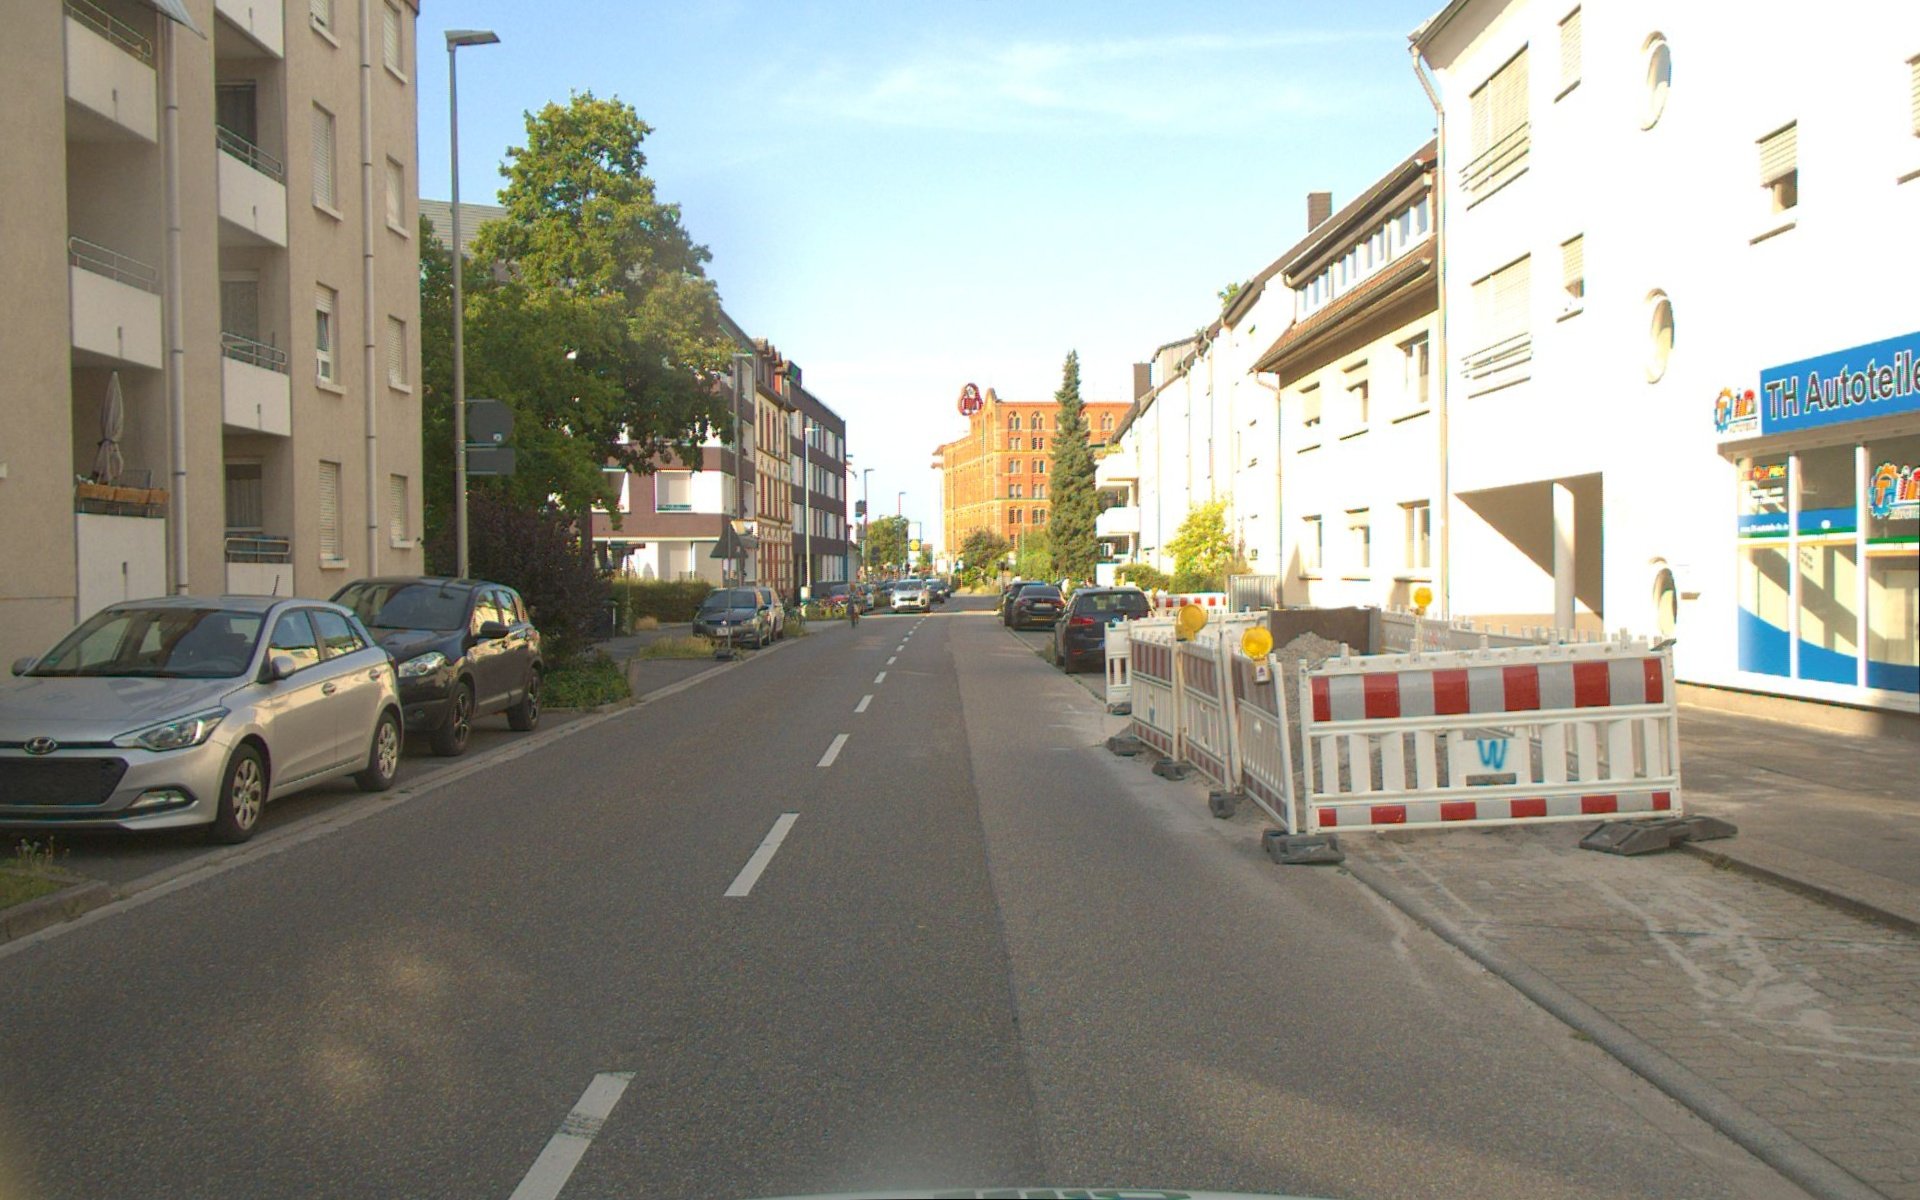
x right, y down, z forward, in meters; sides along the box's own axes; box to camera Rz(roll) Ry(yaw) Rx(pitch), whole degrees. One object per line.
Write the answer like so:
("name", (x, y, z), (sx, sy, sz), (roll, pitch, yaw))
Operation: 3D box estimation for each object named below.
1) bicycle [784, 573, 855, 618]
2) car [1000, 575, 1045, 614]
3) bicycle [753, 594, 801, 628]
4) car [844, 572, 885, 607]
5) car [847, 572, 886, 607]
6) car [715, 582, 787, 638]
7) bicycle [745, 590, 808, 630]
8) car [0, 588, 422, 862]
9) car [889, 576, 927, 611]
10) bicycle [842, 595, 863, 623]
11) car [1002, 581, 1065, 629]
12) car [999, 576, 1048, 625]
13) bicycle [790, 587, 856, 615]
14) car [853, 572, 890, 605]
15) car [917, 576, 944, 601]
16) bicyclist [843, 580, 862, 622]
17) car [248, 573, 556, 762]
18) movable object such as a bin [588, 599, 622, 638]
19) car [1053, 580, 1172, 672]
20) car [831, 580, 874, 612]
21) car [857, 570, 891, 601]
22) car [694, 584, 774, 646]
("bicycle", (-5.899, -0.190, 69.710), (2.858, 1.808, 1.202), (-1, 0, 0))
("car", (2.674, -0.261, 71.691), (1.728, 1.552, 4.000), (-2, 1, -1))
("bicycle", (-6.011, 0.358, 54.467), (1.554, 1.059, 0.707), (-1, 1, -6))
("car", (-5.192, -0.583, 90.206), (1.952, 1.867, 3.689), (-1, 1, 0))
("car", (-5.373, -0.630, 95.321), (1.952, 1.945, 3.689), (-1, 1, 0))
("car", (-5.901, 0.251, 47.048), (1.642, 1.528, 3.999), (0, 1, -2))
("bicycle", (-5.850, 0.320, 52.747), (1.962, 1.238, 0.707), (-1, 0, -6))
("car", (-5.097, 0.678, 11.201), (1.652, 1.480, 4.140), (0, 1, -2))
("car", (-2.543, -0.339, 81.720), (1.728, 1.644, 4.000), (-1, 1, -1))
("bicycle", (-3.825, 0.327, 58.980), (0.596, 0.959, 1.811), (0, 1, 1))
("car", (2.372, 0.130, 54.337), (1.821, 1.497, 3.999), (-1, 1, -1))
("car", (2.264, -0.009, 59.588), (1.569, 1.674, 3.684), (0, 1, -1))
("bicycle", (-5.905, 0.044, 71.484), (2.716, 1.164, 1.143), (-1, 0, 0))
("car", (-5.319, -0.702, 99.399), (1.952, 1.940, 4.000), (-1, 1, 0))
("car", (-1.935, -0.784, 110.155), (1.728, 1.644, 4.000), (-1, 1, -1))
("bicyclist", (-3.829, 0.037, 59.058), (0.578, 1.467, 0.751), (-1, 0, 0))
("car", (-5.339, 0.555, 16.432), (1.651, 1.631, 4.369), (0, 1, -1))
("movable object such as a bin", (-10.116, 0.518, 47.151), (0.736, 1.058, 0.816), (2, 1, 0))
("car", (2.694, 0.411, 29.957), (1.792, 1.508, 3.943), (-1, 1, 0))
("car", (-5.147, -0.202, 79.369), (1.802, 1.489, 3.584), (-1, 1, 0))
("car", (-5.473, -0.931, 105.493), (1.953, 1.914, 4.000), (-1, 1, 0))
("car", (-5.578, 0.346, 41.161), (1.541, 1.445, 3.803), (0, 1, -1))
